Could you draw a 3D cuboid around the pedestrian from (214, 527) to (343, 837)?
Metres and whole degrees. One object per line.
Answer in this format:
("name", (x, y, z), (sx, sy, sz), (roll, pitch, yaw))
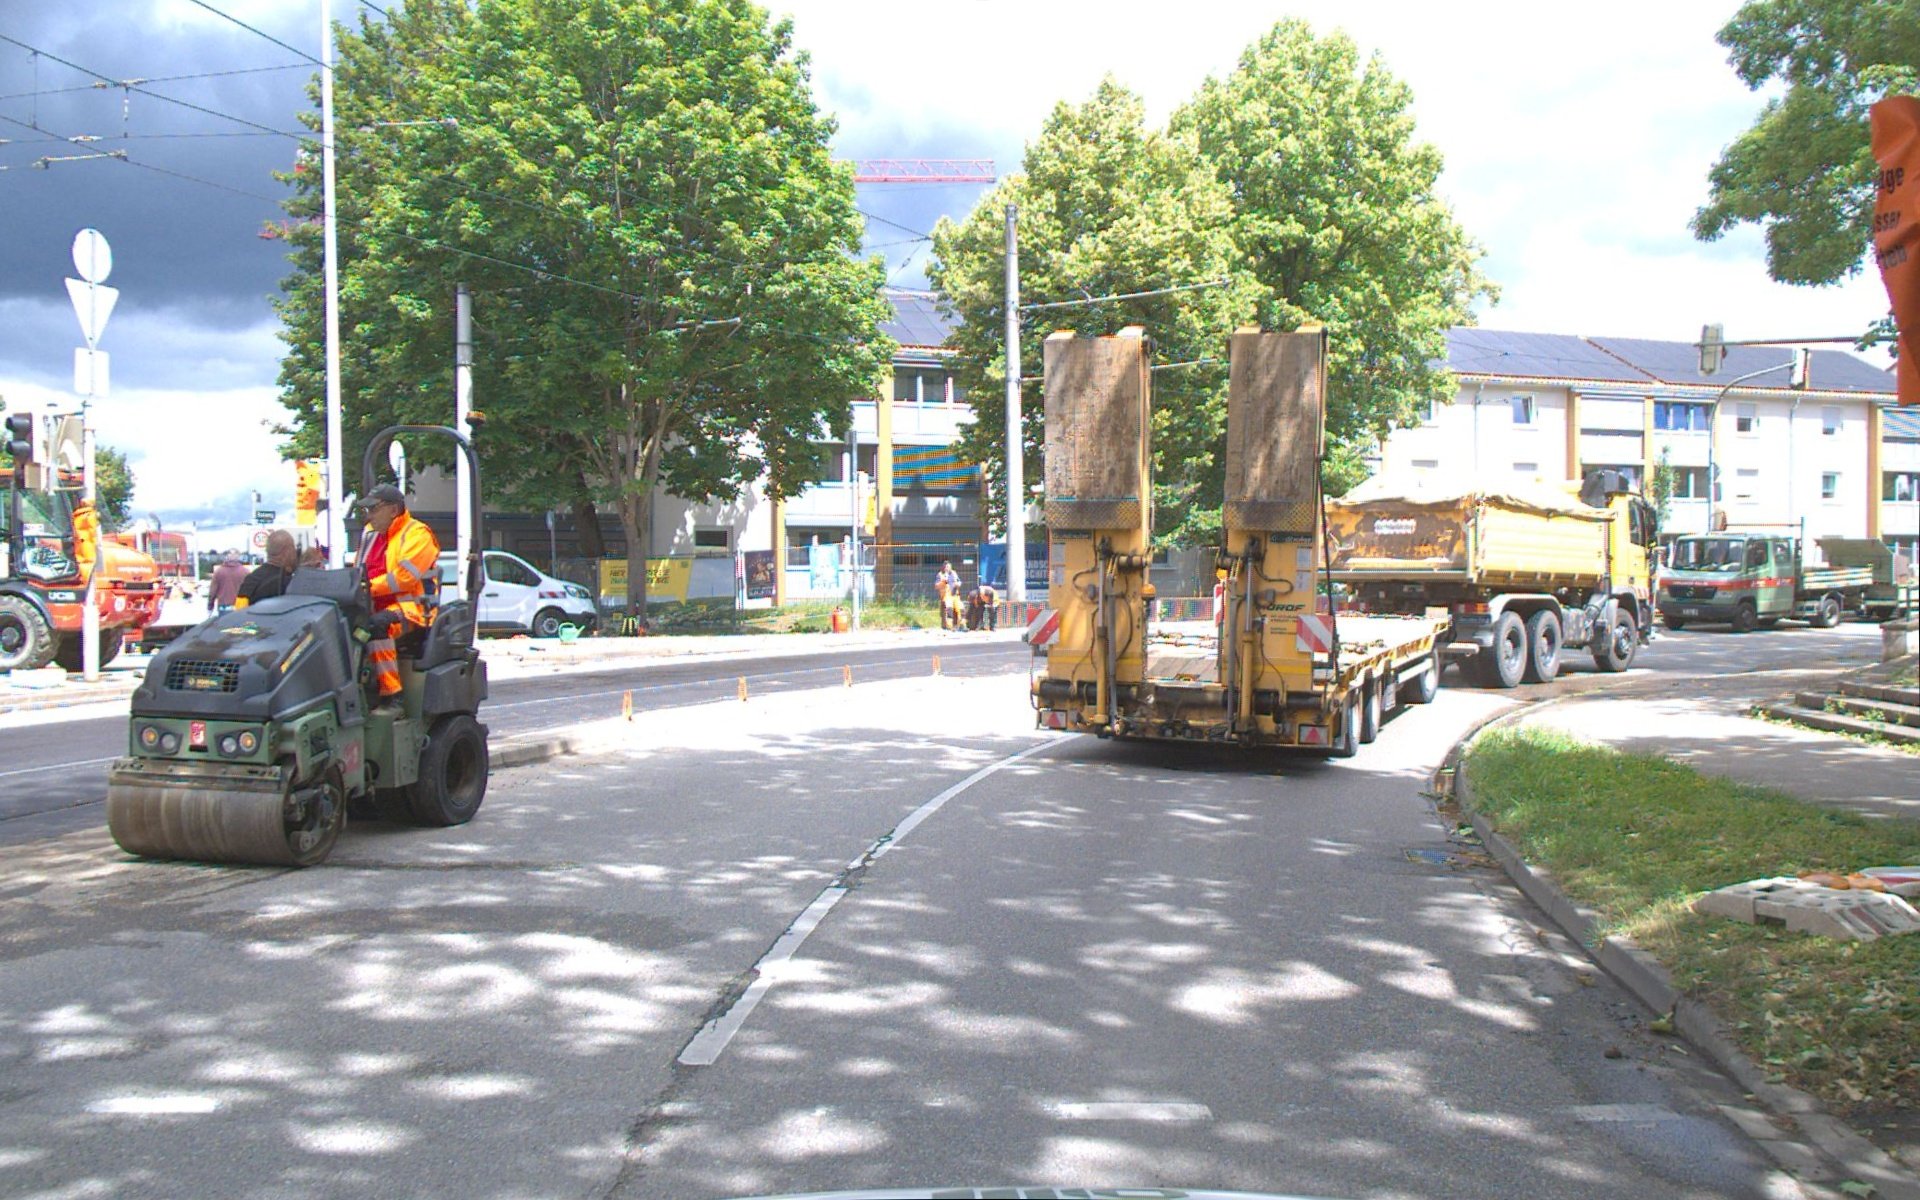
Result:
("pedestrian", (-3.900, 0.453, 9.491), (0.459, 1.711, 0.559), (2, 0, 1))

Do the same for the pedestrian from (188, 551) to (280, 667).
("pedestrian", (-10.743, 0.118, 24.509), (0.906, 1.688, 0.875), (0, 1, 6))

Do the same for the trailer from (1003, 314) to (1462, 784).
("trailer", (3.650, -0.552, 18.277), (2.765, 3.585, 11.054), (2, 2, 21))

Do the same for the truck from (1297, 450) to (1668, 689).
("truck", (8.490, -0.506, 26.172), (2.873, 3.222, 7.639), (2, 2, 40))

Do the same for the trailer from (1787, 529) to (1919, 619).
("trailer", (25.822, -0.794, 45.543), (6.167, 2.252, 2.642), (-2, 3, -32))

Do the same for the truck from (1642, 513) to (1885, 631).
("truck", (20.555, -0.814, 42.224), (6.313, 2.772, 2.642), (-2, 3, -32))

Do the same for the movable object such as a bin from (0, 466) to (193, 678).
("movable object such as a bin", (-13.613, -0.382, 22.439), (5.452, 2.715, 2.117), (0, 0, 4))

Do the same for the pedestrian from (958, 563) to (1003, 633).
("pedestrian", (0.447, -0.049, 37.087), (0.888, 1.559, 0.840), (-1, 0, -8))

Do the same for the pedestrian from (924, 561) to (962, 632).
("pedestrian", (-0.380, -0.082, 36.890), (0.745, 1.568, 0.797), (-1, 0, -8))

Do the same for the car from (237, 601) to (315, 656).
("car", (-19.548, 0.788, 47.400), (1.745, 1.484, 3.856), (-1, 0, -18))

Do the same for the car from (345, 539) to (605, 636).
("car", (-10.275, -0.258, 35.274), (5.150, 1.920, 1.991), (-1, -1, -17))

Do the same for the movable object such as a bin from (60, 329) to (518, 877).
("movable object such as a bin", (-3.609, -0.008, 9.245), (1.288, 2.639, 2.365), (0, 1, 11))

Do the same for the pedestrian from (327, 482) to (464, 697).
("pedestrian", (-3.351, -0.062, 9.851), (0.537, 1.238, 0.618), (0, 0, 9))

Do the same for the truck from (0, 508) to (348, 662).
("truck", (-14.947, -0.283, 31.640), (5.449, 2.613, 2.420), (-2, 0, 3))
